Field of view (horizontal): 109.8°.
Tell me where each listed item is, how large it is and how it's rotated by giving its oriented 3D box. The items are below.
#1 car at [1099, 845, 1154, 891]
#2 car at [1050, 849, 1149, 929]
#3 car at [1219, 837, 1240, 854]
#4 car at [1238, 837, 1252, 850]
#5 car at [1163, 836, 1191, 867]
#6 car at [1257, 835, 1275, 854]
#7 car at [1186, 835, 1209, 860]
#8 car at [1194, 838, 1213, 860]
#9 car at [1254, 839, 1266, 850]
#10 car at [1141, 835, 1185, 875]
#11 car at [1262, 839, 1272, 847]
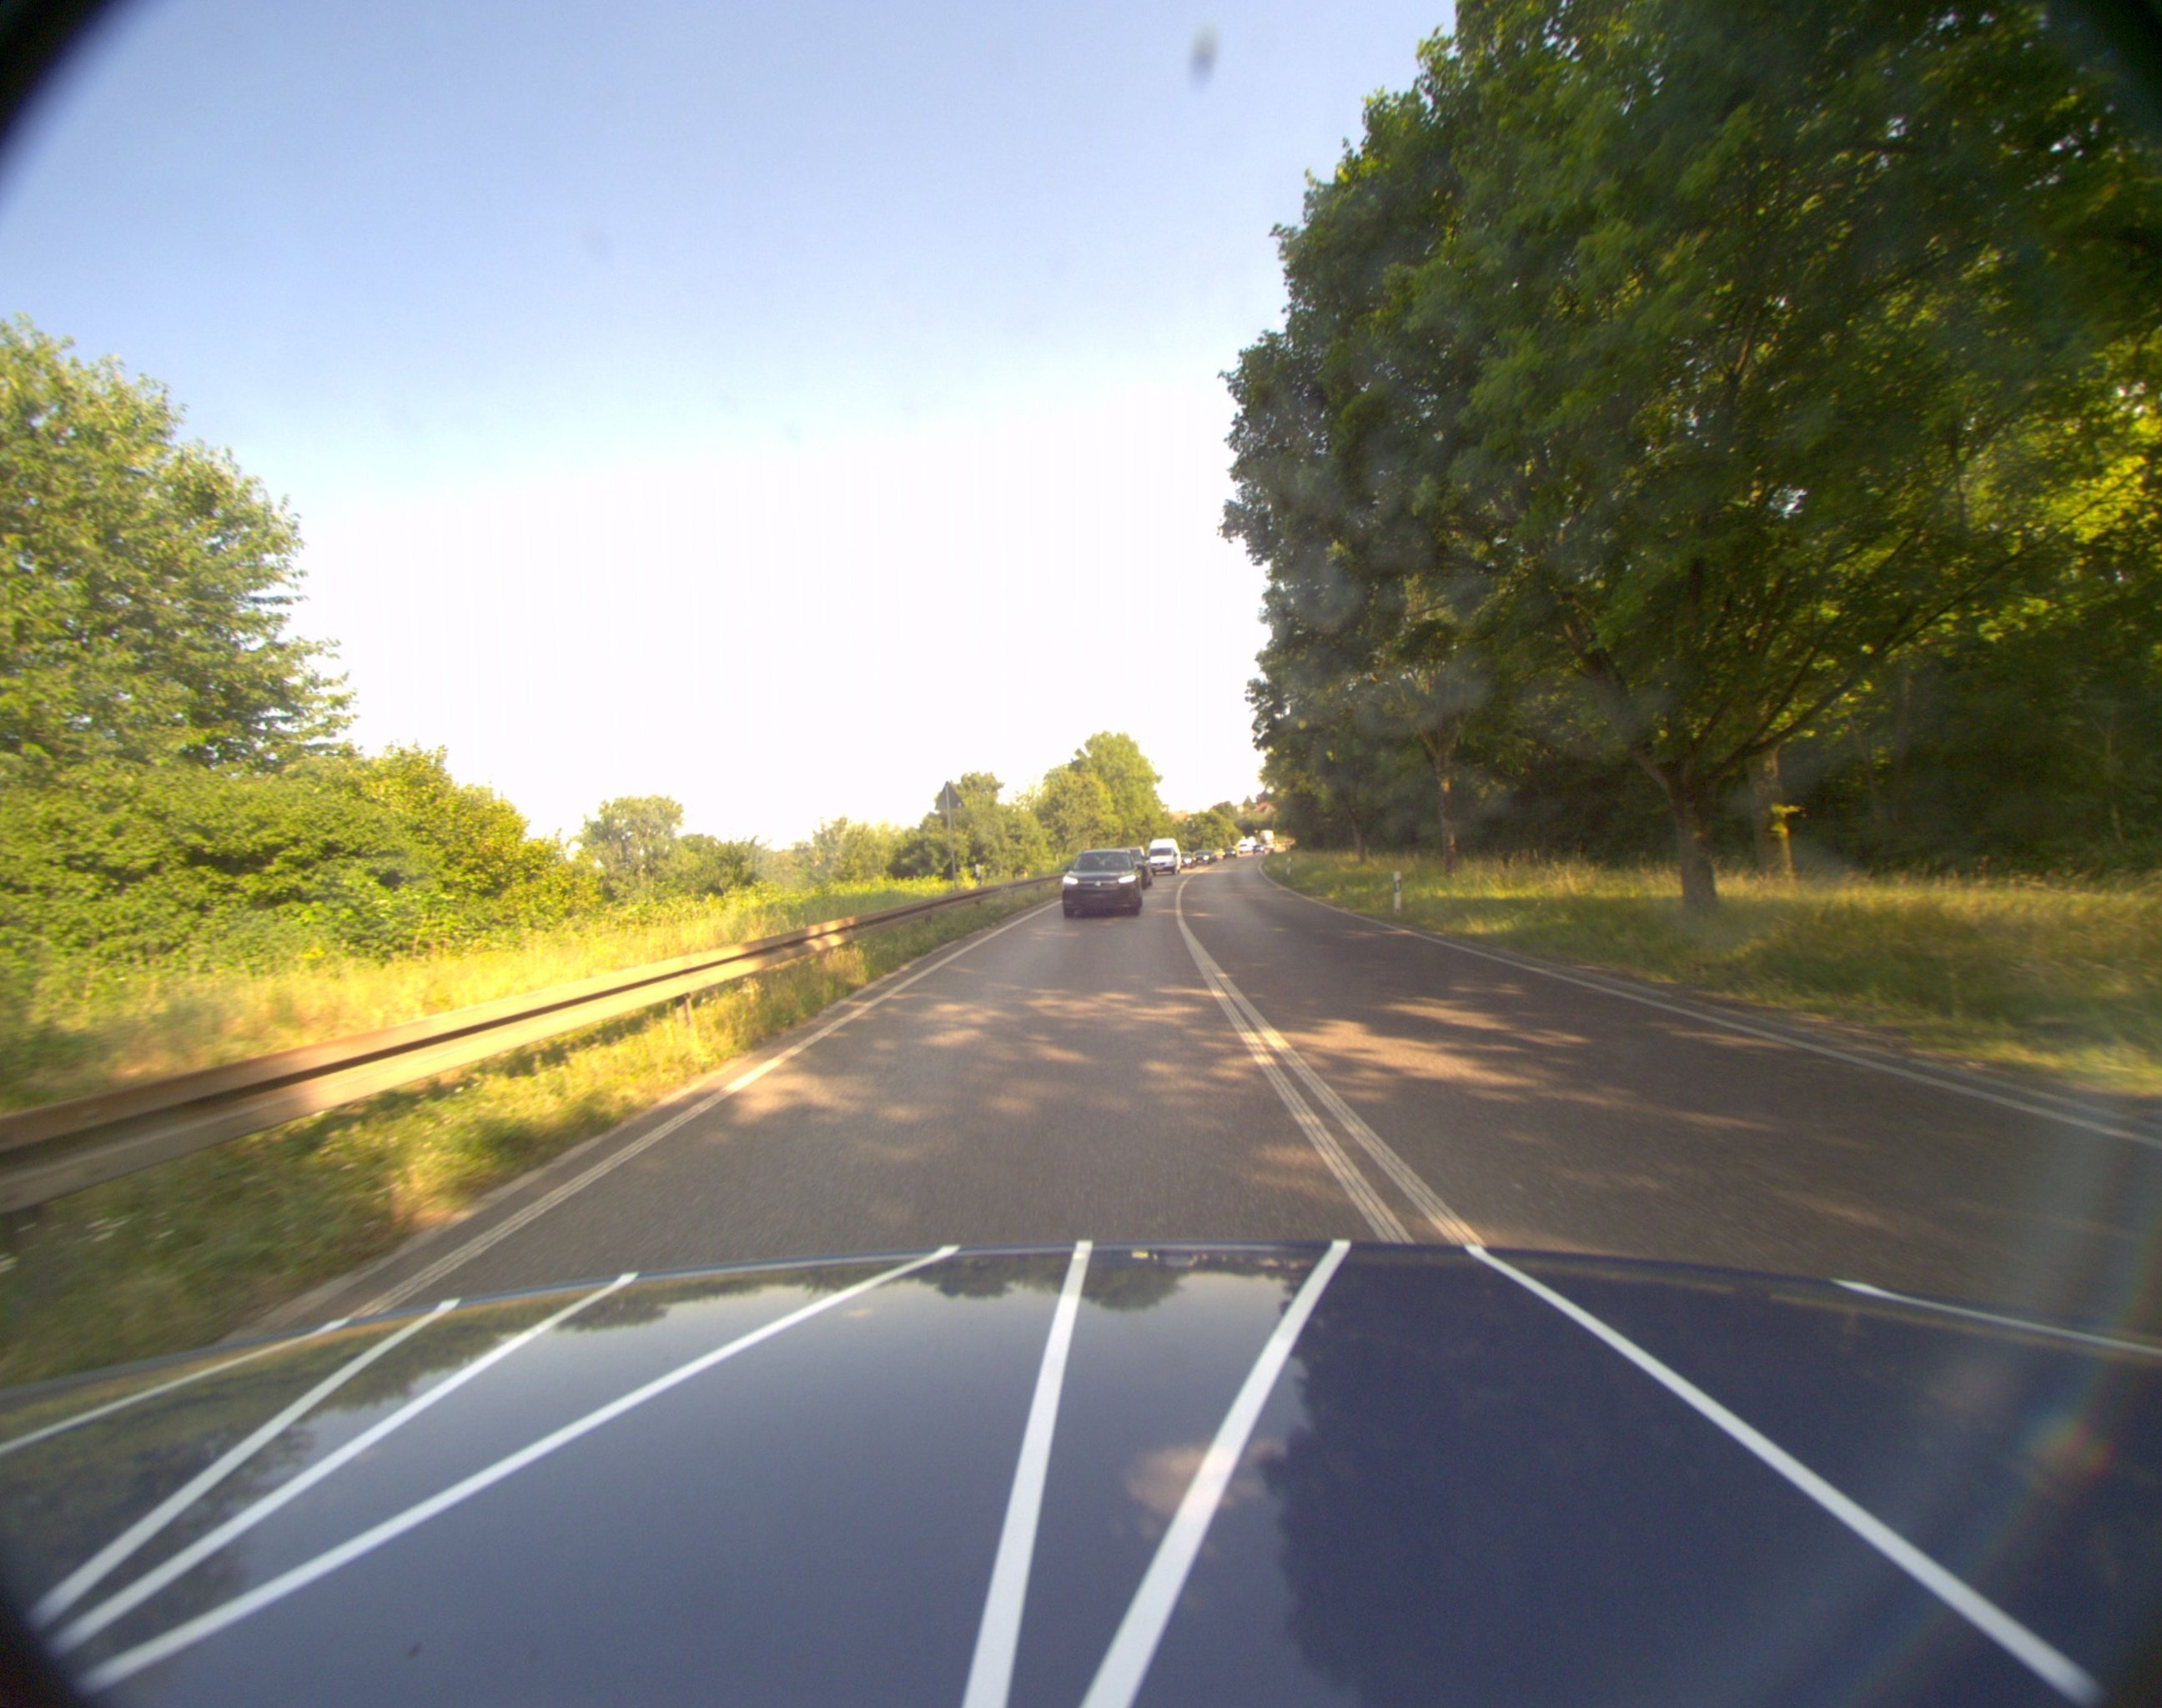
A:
[{"bbox_3d":[2.007,0.547,31.915,1.921,1.718,4.704,-2,0,7],"label":"car"},{"bbox_3d":[0.603,0.752,18.808,1.921,1.612,4.703,-2,1,7],"label":"car"},{"bbox_3d":[21.789,-1.280,111.283,2.085,2.403,5.148,-2,1,20],"label":"car"},{"bbox_3d":[31.954,-2.050,147.964,2.085,2.403,5.148,-2,1,20],"label":"car"},{"bbox_3d":[7.968,-0.246,62.917,2.087,2.403,5.144,-2,1,8],"label":"car"},{"bbox_3d":[24.659,-1.328,101.382,2.086,2.403,5.146,-2,1,13],"label":"car"},{"bbox_3d":[11.733,-0.673,76.690,2.087,2.403,5.144,-2,1,8],"label":"car"},{"bbox_3d":[14.522,-0.602,90.187,2.087,2.403,5.144,-2,1,8],"label":"car"},{"bbox_3d":[29.165,-1.566,123.751,1.899,1.622,4.254,-2,1,14],"label":"car"},{"bbox_3d":[5.431,0.003,49.705,2.086,2.403,5.146,-2,1,14],"label":"car"},{"bbox_3d":[41.931,-2.442,170.851,1.893,1.622,4.255,-2,1,17],"label":"car"}]
